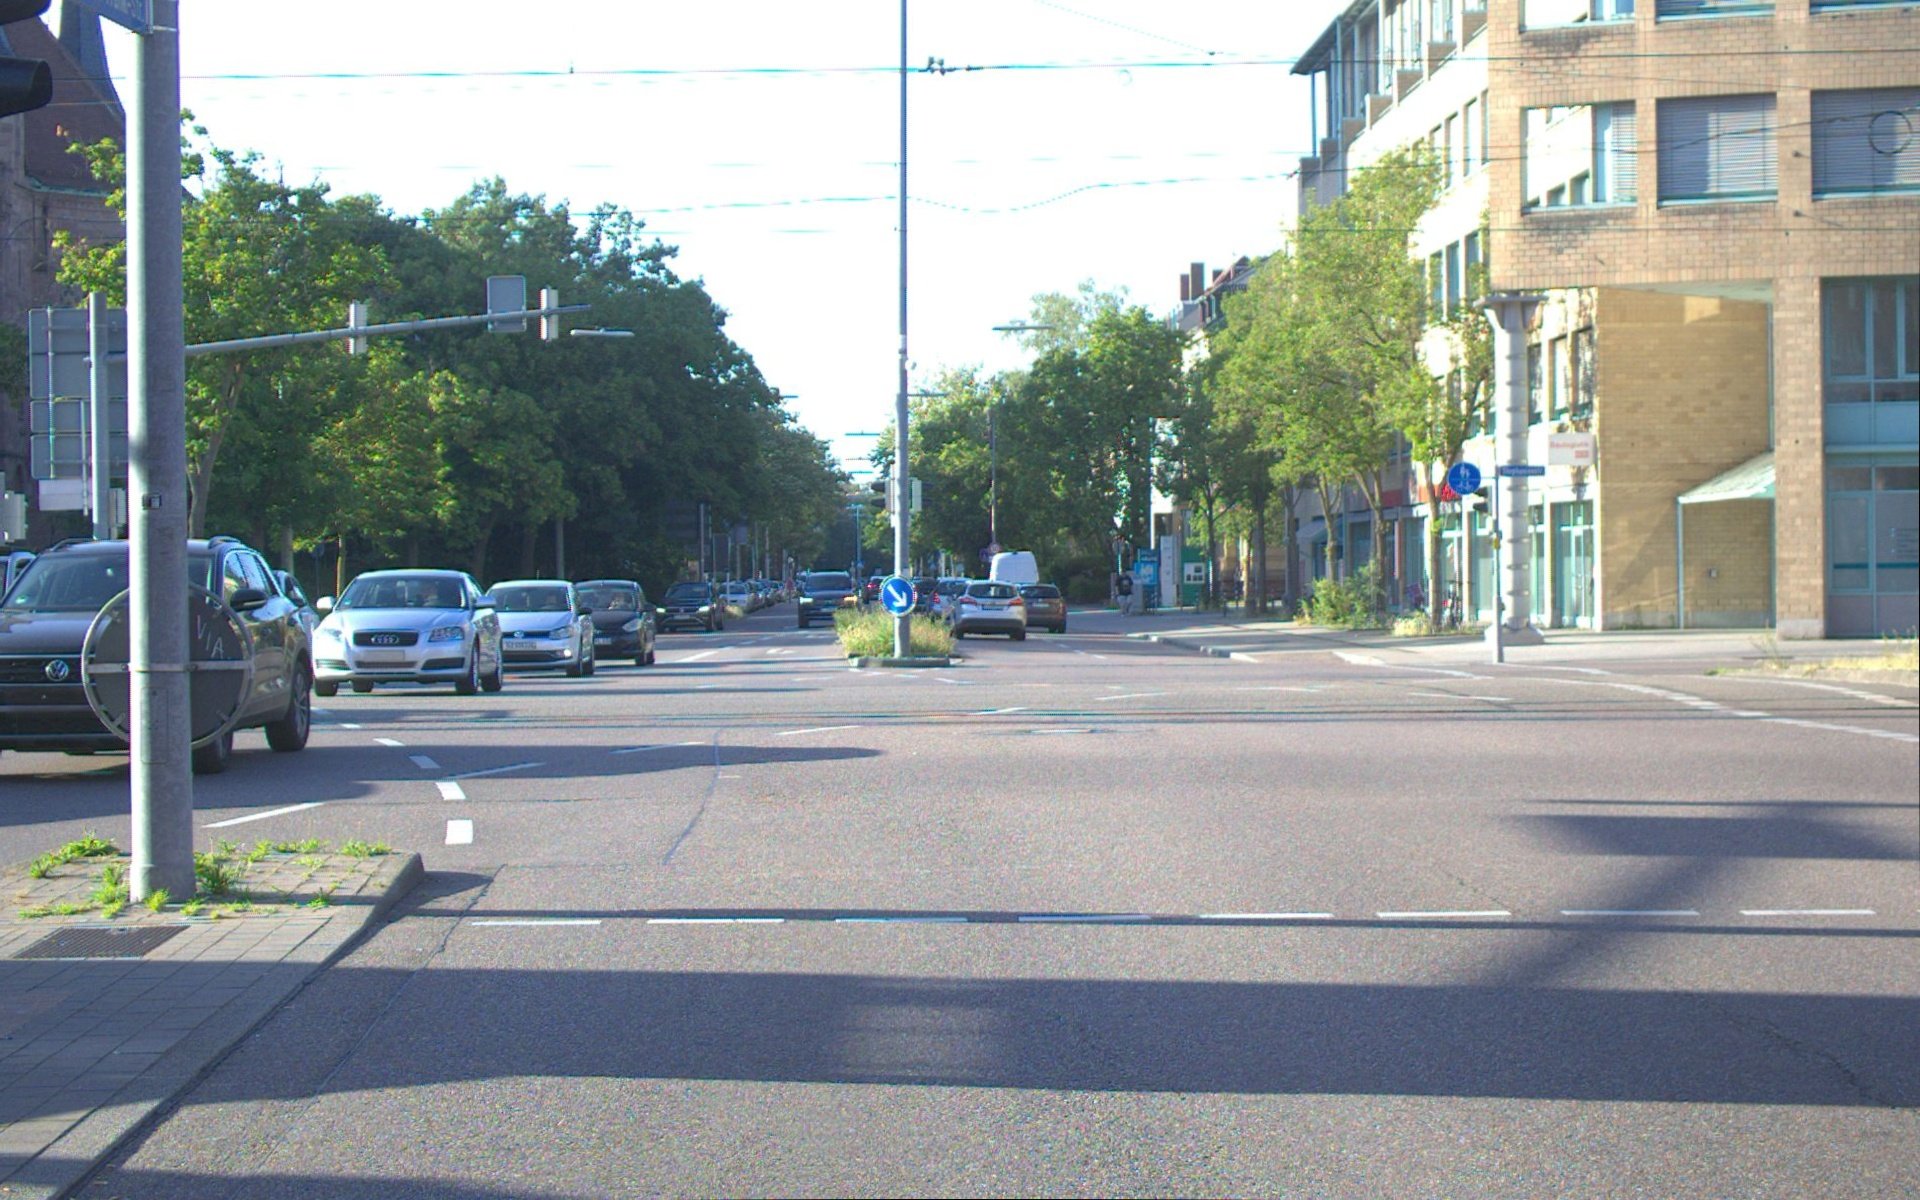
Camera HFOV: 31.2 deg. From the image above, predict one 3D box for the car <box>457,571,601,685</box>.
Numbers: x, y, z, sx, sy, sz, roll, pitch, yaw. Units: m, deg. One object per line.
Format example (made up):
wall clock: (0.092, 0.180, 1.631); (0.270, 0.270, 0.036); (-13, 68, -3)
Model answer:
car: (-6.378, 0.387, 51.217); (1.675, 1.539, 3.806); (-2, 1, -1)

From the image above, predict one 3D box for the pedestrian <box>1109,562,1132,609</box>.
pedestrian: (6.120, -0.560, 131.141); (0.847, 1.797, 0.776); (0, 1, -1)

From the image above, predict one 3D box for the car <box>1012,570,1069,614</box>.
car: (2.389, -0.244, 102.423); (1.594, 1.263, 3.266); (0, 1, -1)

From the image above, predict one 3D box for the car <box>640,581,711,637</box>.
car: (-8.988, 0.285, 108.910); (1.993, 1.718, 4.593); (-1, 0, -2)

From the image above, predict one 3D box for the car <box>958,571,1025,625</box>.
car: (0.770, -0.065, 85.639); (1.594, 1.263, 3.266); (0, 1, -1)

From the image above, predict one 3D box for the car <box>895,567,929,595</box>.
car: (-2.288, -0.916, 164.938); (1.594, 1.263, 3.266); (0, 1, -1)

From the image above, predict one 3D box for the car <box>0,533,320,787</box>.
car: (-5.654, 0.343, 23.588); (1.675, 1.539, 4.102); (-2, 1, 1)

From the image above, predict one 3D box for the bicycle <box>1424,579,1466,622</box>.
bicycle: (11.391, 0.004, 80.800); (0.646, 0.991, 2.081); (0, 0, -2)

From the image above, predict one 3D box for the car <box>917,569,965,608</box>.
car: (-0.642, -0.403, 115.557); (1.594, 1.263, 3.266); (0, 1, -1)

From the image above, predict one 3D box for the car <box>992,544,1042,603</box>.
car: (2.396, -1.119, 145.240); (1.993, 2.432, 4.000); (1, 0, -1)

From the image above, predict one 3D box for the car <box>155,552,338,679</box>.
car: (-9.427, 0.171, 45.657); (1.675, 1.539, 3.638); (-2, 1, -1)

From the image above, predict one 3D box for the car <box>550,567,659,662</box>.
car: (-6.290, 0.230, 61.109); (1.578, 1.539, 3.477); (-2, 1, -1)

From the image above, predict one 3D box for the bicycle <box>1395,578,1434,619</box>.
bicycle: (11.286, -0.040, 85.454); (0.646, 0.991, 2.081); (0, 0, -2)

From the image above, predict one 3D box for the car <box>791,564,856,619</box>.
car: (-4.360, -0.257, 110.630); (1.993, 1.718, 5.031); (-1, 0, -2)

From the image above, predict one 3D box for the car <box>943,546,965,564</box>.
car: (-0.456, -3.354, 256.053); (1.594, 1.263, 3.266); (0, 1, -1)

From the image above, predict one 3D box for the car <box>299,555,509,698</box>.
car: (-6.167, 0.256, 38.544); (1.708, 1.420, 4.103); (-2, 1, -1)

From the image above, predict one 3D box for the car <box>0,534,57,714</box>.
car: (-9.322, 0.219, 31.345); (1.535, 1.587, 2.809); (-2, 1, -3)

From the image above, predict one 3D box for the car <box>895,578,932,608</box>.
car: (-2.056, -0.308, 152.506); (1.594, 1.263, 3.266); (0, 1, -1)
